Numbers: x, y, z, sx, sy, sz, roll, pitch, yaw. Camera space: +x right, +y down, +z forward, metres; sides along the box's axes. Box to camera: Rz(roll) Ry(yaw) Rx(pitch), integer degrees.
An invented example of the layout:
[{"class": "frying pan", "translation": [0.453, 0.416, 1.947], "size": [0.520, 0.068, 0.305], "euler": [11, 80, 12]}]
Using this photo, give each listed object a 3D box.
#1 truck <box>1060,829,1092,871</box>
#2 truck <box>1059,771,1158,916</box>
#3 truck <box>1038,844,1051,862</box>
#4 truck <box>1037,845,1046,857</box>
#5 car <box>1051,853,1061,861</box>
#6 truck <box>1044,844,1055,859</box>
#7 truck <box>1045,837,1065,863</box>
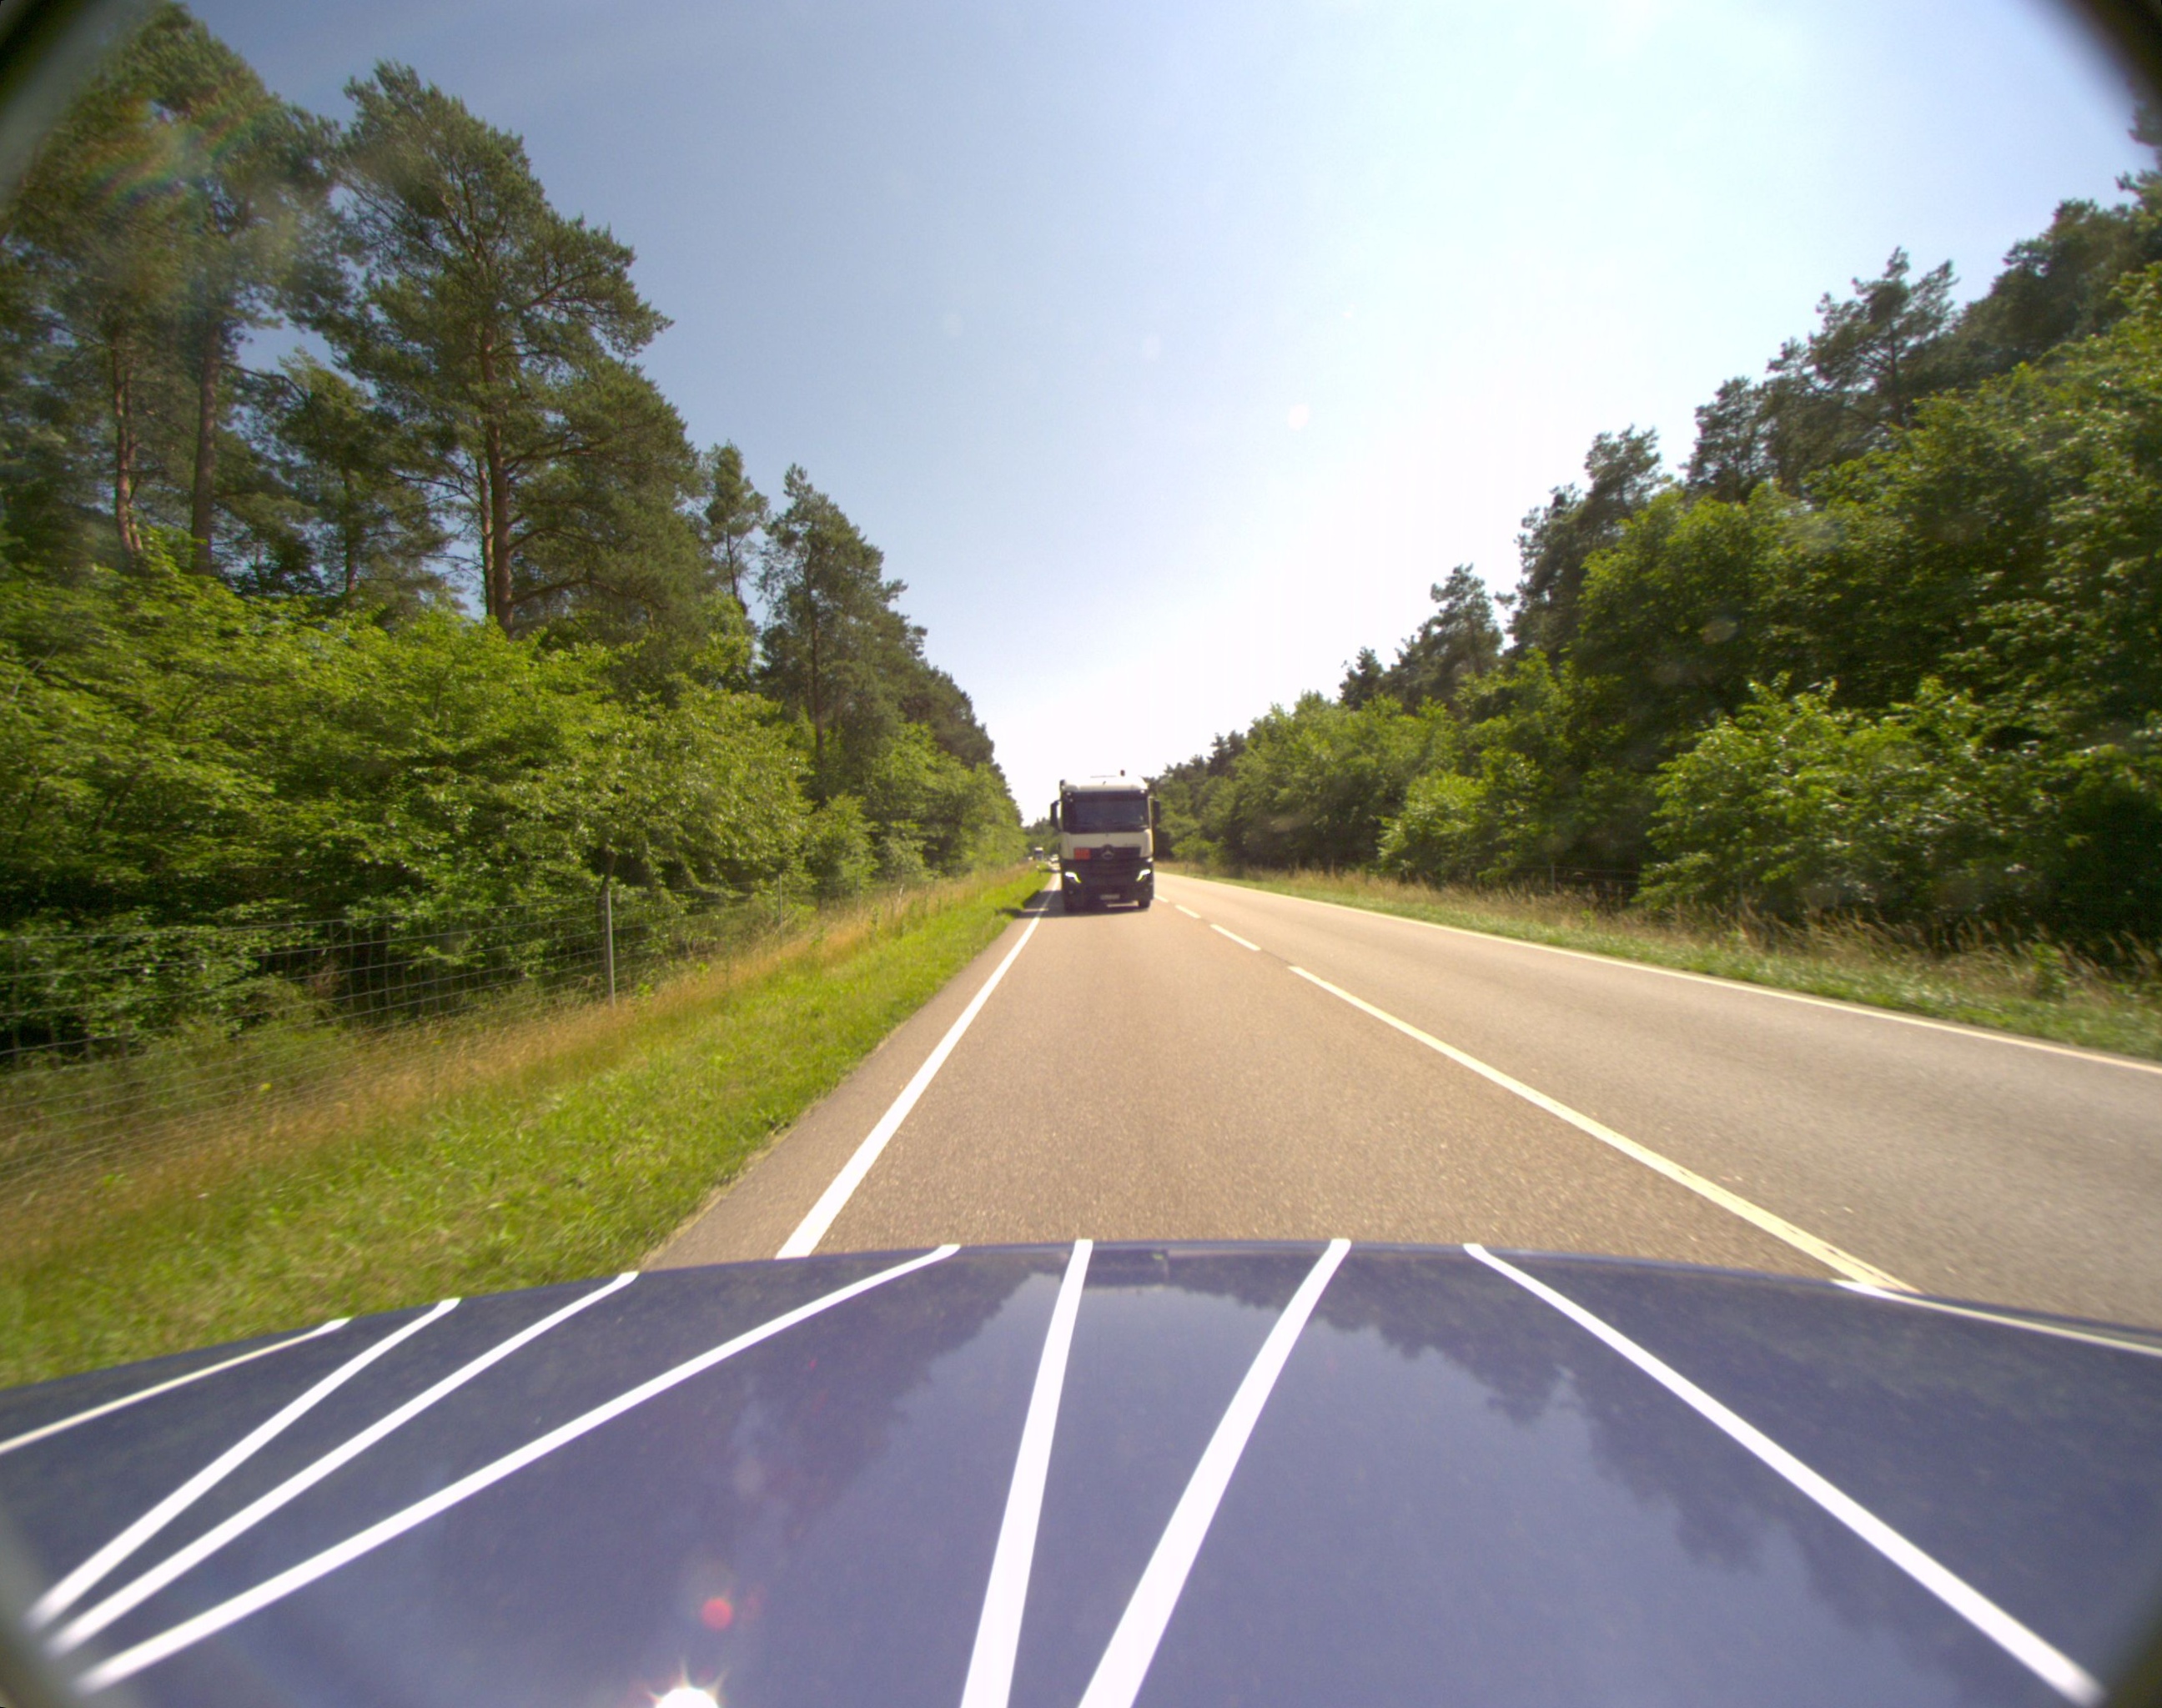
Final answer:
[{"class": "truck", "translation": [-0.514, -0.375, 70.491], "size": [2.495, 3.698, 6.222], "euler": [1, 0, -4]}, {"class": "truck", "translation": [0.664, -0.272, 23.043], "size": [2.435, 3.672, 6.456], "euler": [-3, 0, -1]}, {"class": "truck", "translation": [-7.330, -0.215, 151.569], "size": [2.495, 3.619, 6.101], "euler": [-1, 0, -4]}, {"class": "truck", "translation": [-12.211, -0.827, 233.529], "size": [2.495, 3.618, 6.100], "euler": [0, 0, -6]}, {"class": "car", "translation": [-4.539, 0.483, 137.090], "size": [1.885, 1.461, 3.999], "euler": [1, 0, -3]}, {"class": "truck", "translation": [-7.875, -0.534, 191.407], "size": [2.495, 3.619, 6.101], "euler": [-1, 0, -4]}, {"class": "truck", "translation": [-3.513, -0.537, 101.410], "size": [2.495, 3.316, 6.222], "euler": [1, 0, -4]}]
